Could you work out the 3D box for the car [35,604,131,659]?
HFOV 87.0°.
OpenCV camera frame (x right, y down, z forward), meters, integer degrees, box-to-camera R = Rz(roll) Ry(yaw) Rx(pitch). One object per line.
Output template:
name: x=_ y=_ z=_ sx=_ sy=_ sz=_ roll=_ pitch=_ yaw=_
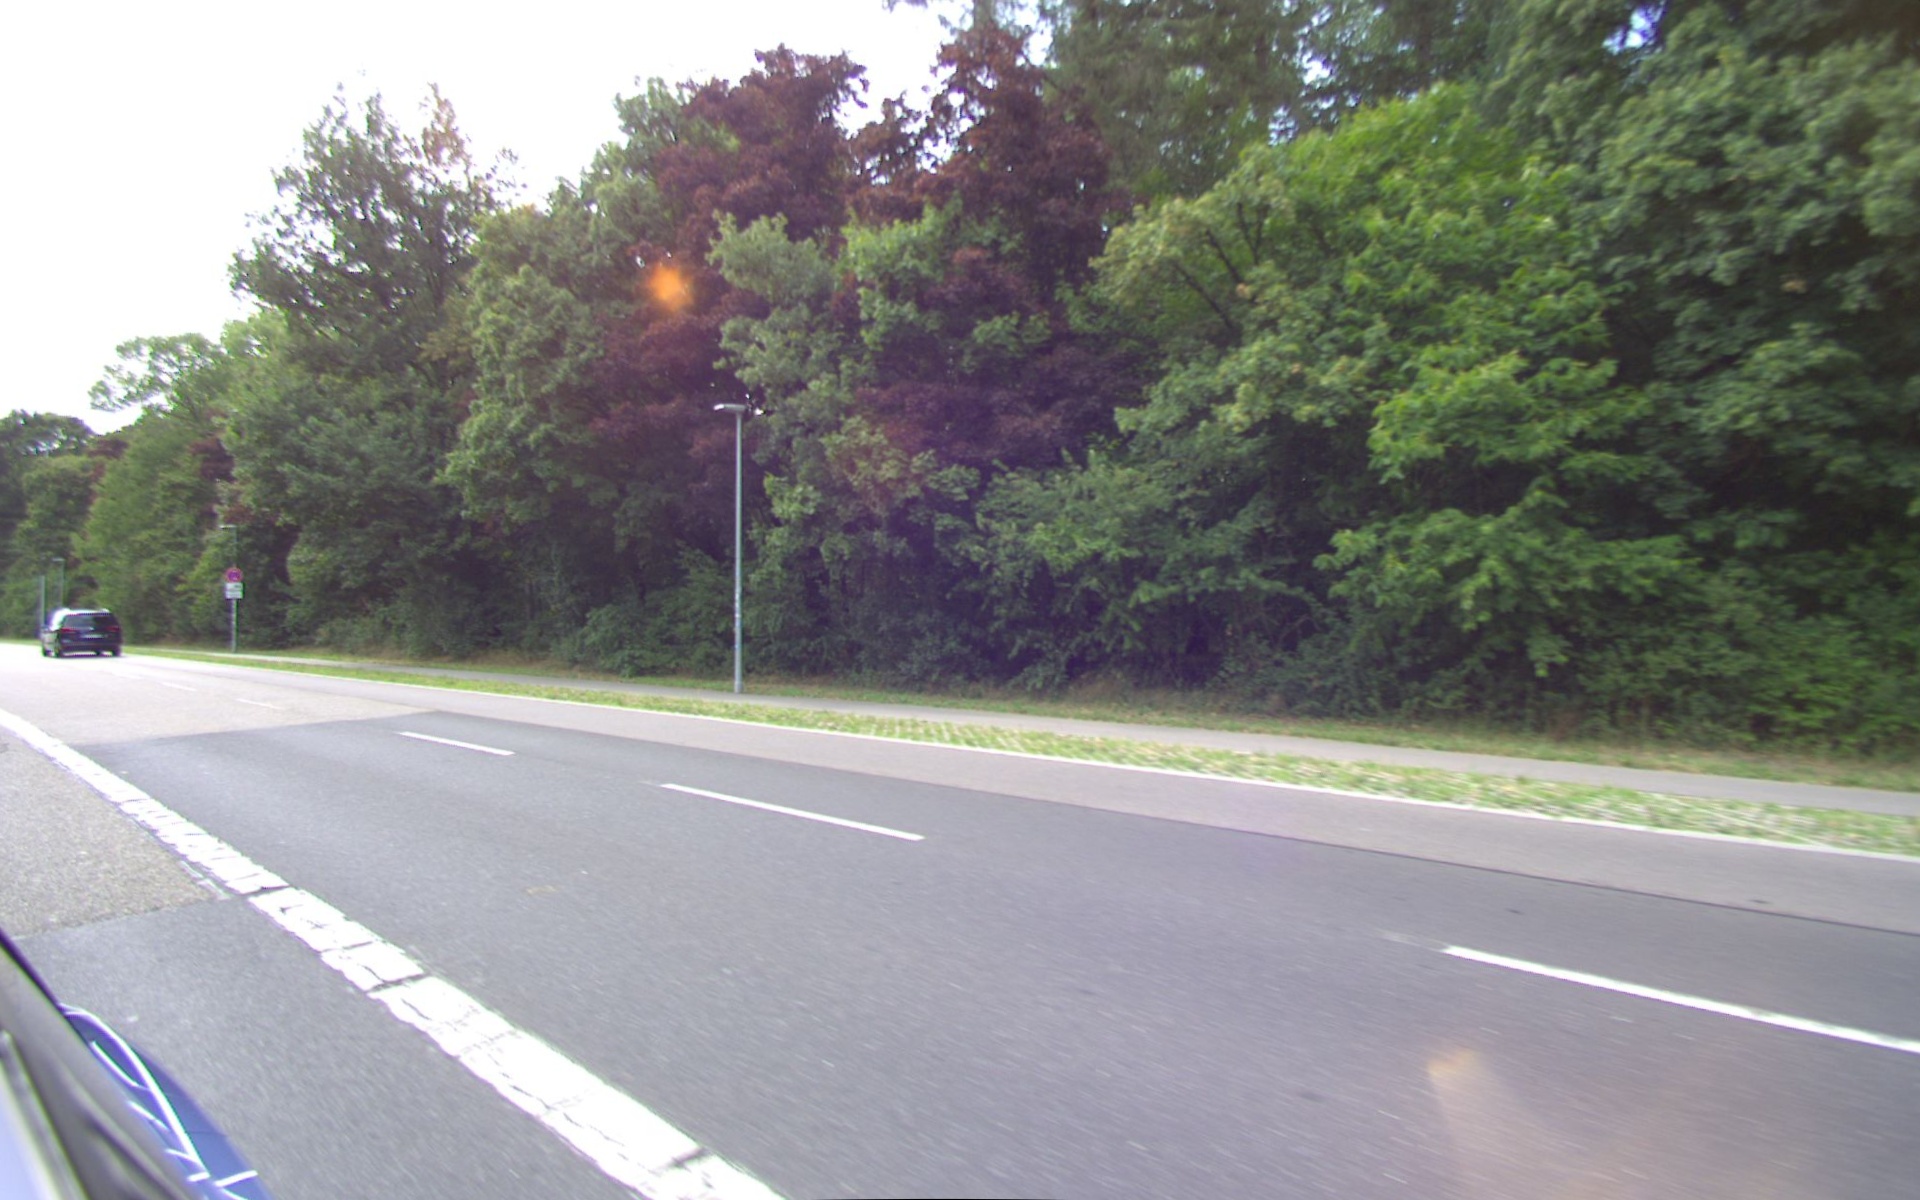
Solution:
car: x=-32.391 y=1.105 z=37.337 sx=4.745 sy=1.804 sz=1.973 roll=0 pitch=2 yaw=41
